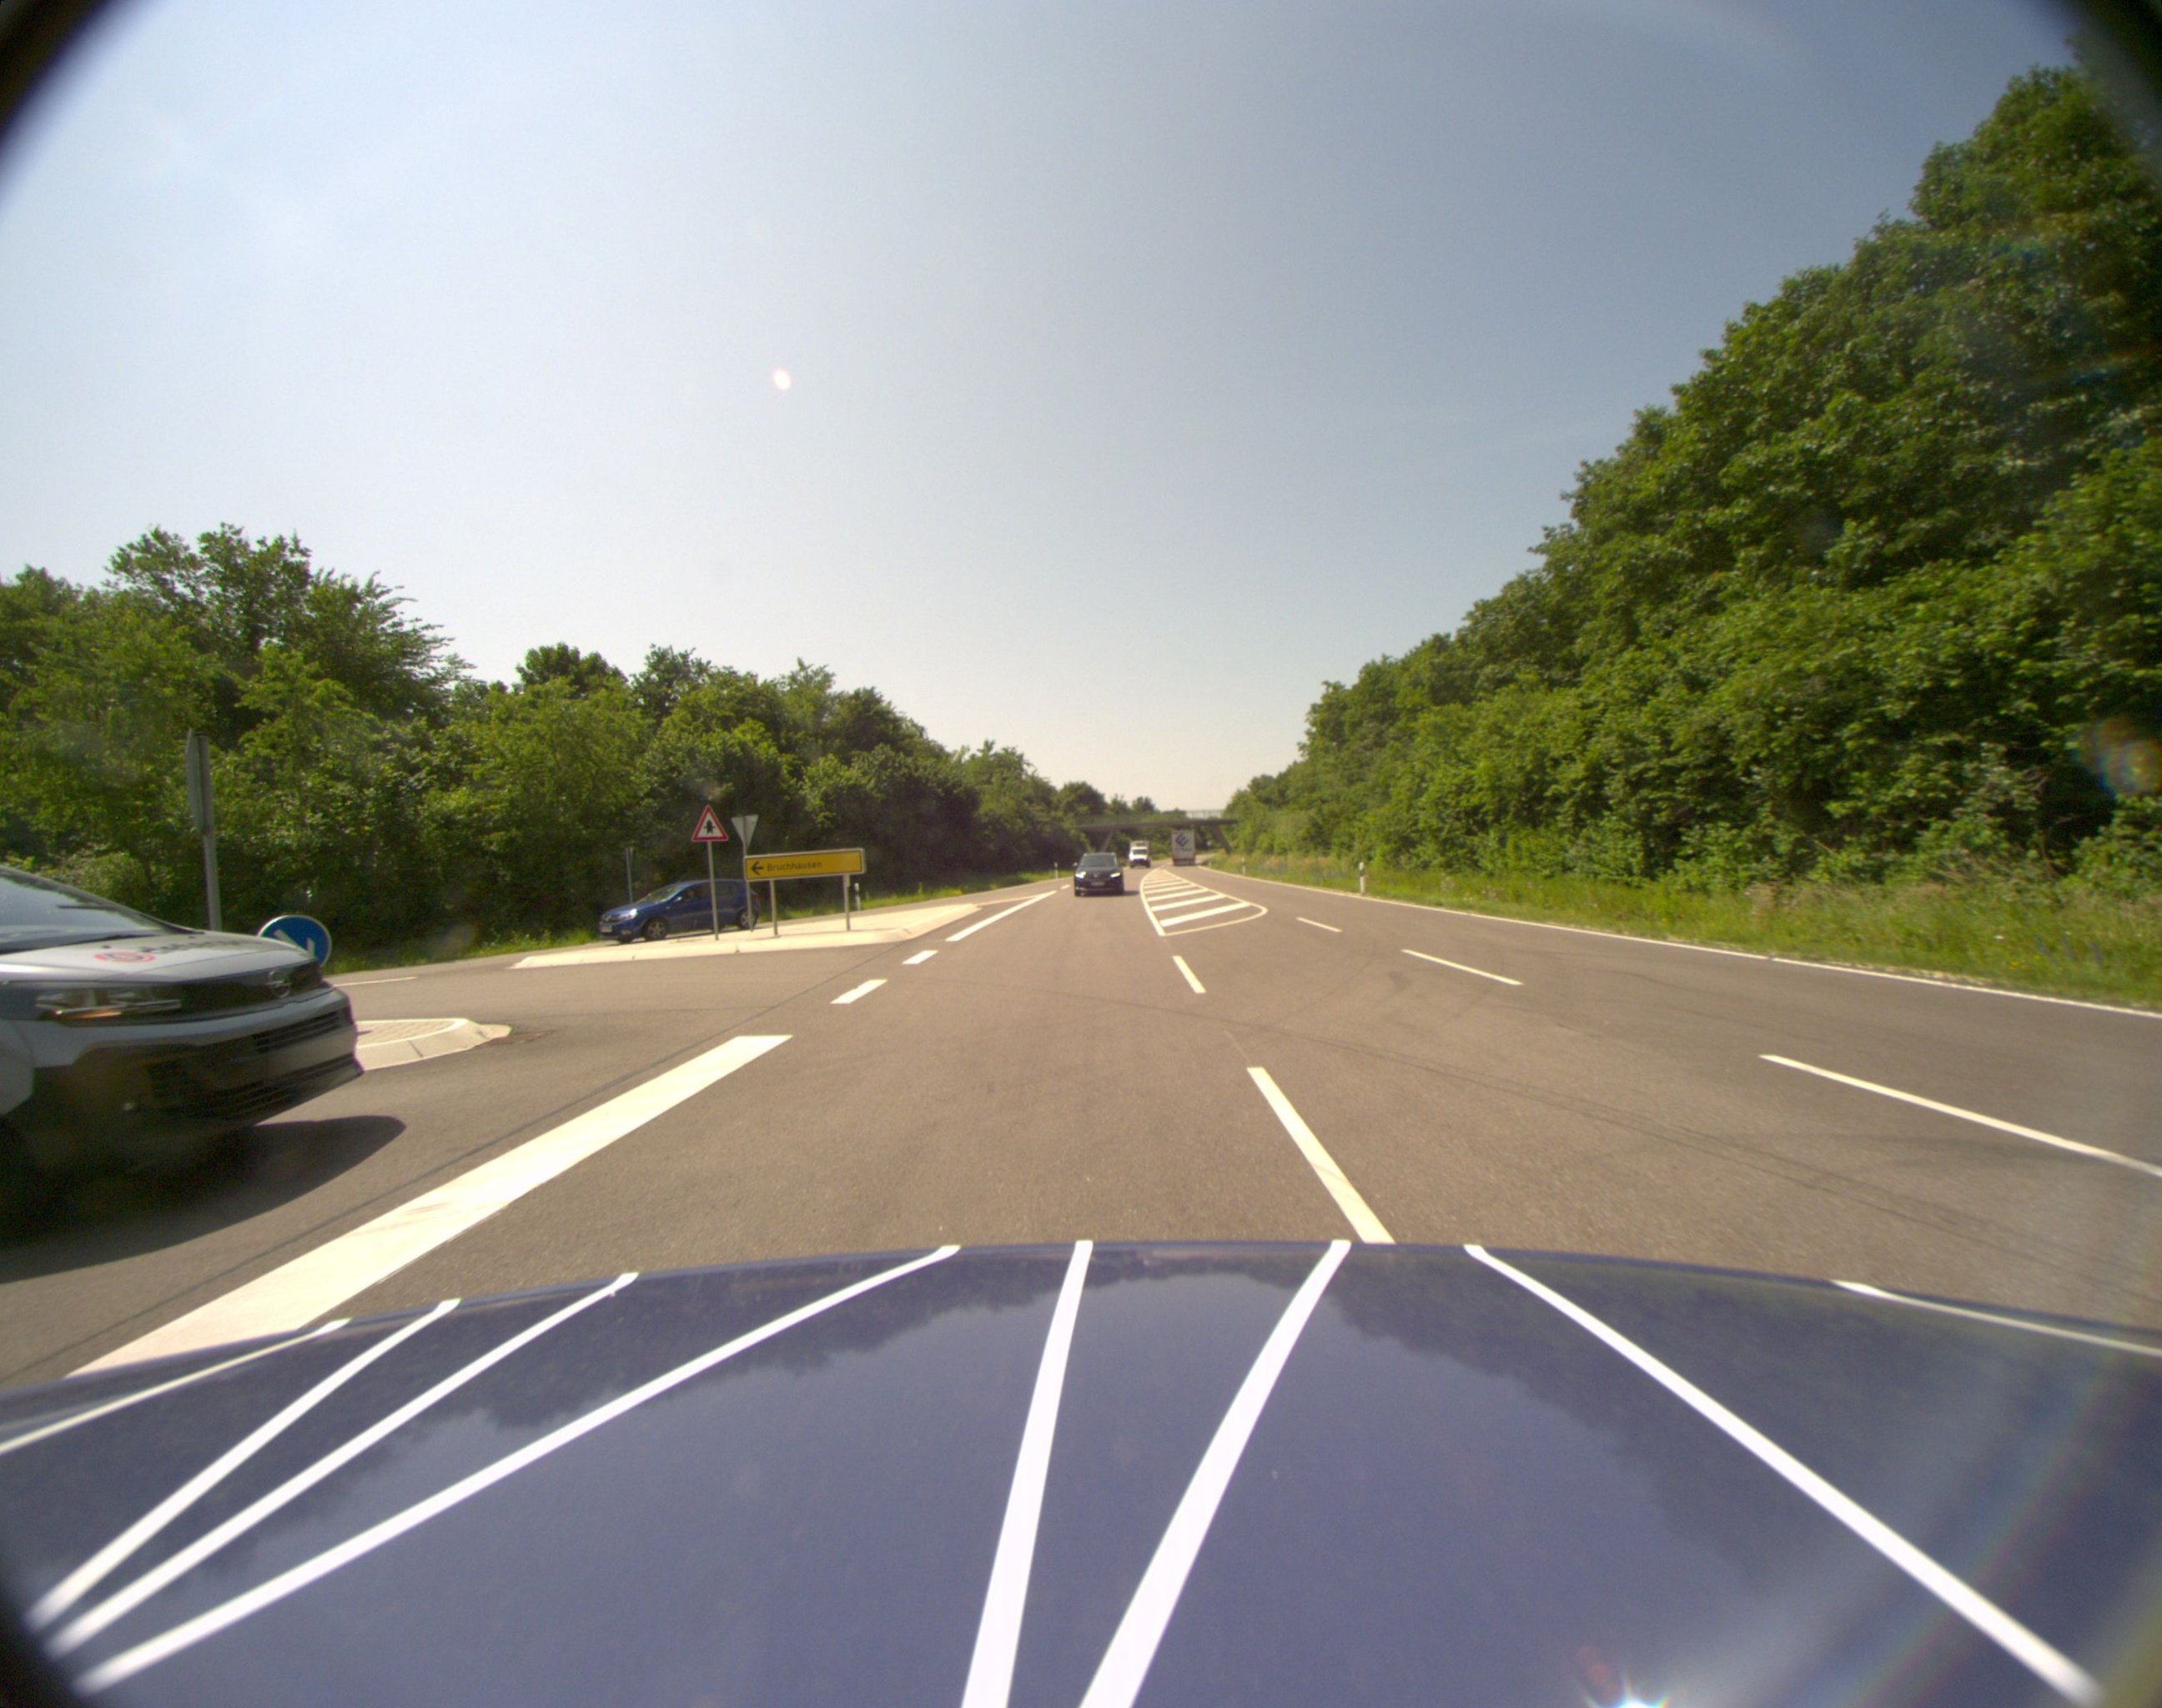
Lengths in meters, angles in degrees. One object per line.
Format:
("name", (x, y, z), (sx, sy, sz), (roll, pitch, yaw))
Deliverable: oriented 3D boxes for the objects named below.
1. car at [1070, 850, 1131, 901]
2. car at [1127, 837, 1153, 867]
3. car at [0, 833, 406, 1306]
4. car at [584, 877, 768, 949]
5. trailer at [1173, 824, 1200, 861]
("car", (0.876, 0.745, 29.473), (1.923, 1.711, 5.480), (-2, 1, 6))
("car", (6.548, -0.250, 83.618), (2.590, 3.047, 6.884), (-2, 1, 7))
("car", (-6.815, 1.057, 3.350), (5.233, 1.896, 2.010), (-5, 2, -18))
("car", (-10.867, 1.540, 20.670), (1.805, 1.532, 3.952), (-4, 0, 33))
("trailer", (12.340, -1.325, 89.025), (2.833, 4.072, 9.006), (-2, 0, 8))
